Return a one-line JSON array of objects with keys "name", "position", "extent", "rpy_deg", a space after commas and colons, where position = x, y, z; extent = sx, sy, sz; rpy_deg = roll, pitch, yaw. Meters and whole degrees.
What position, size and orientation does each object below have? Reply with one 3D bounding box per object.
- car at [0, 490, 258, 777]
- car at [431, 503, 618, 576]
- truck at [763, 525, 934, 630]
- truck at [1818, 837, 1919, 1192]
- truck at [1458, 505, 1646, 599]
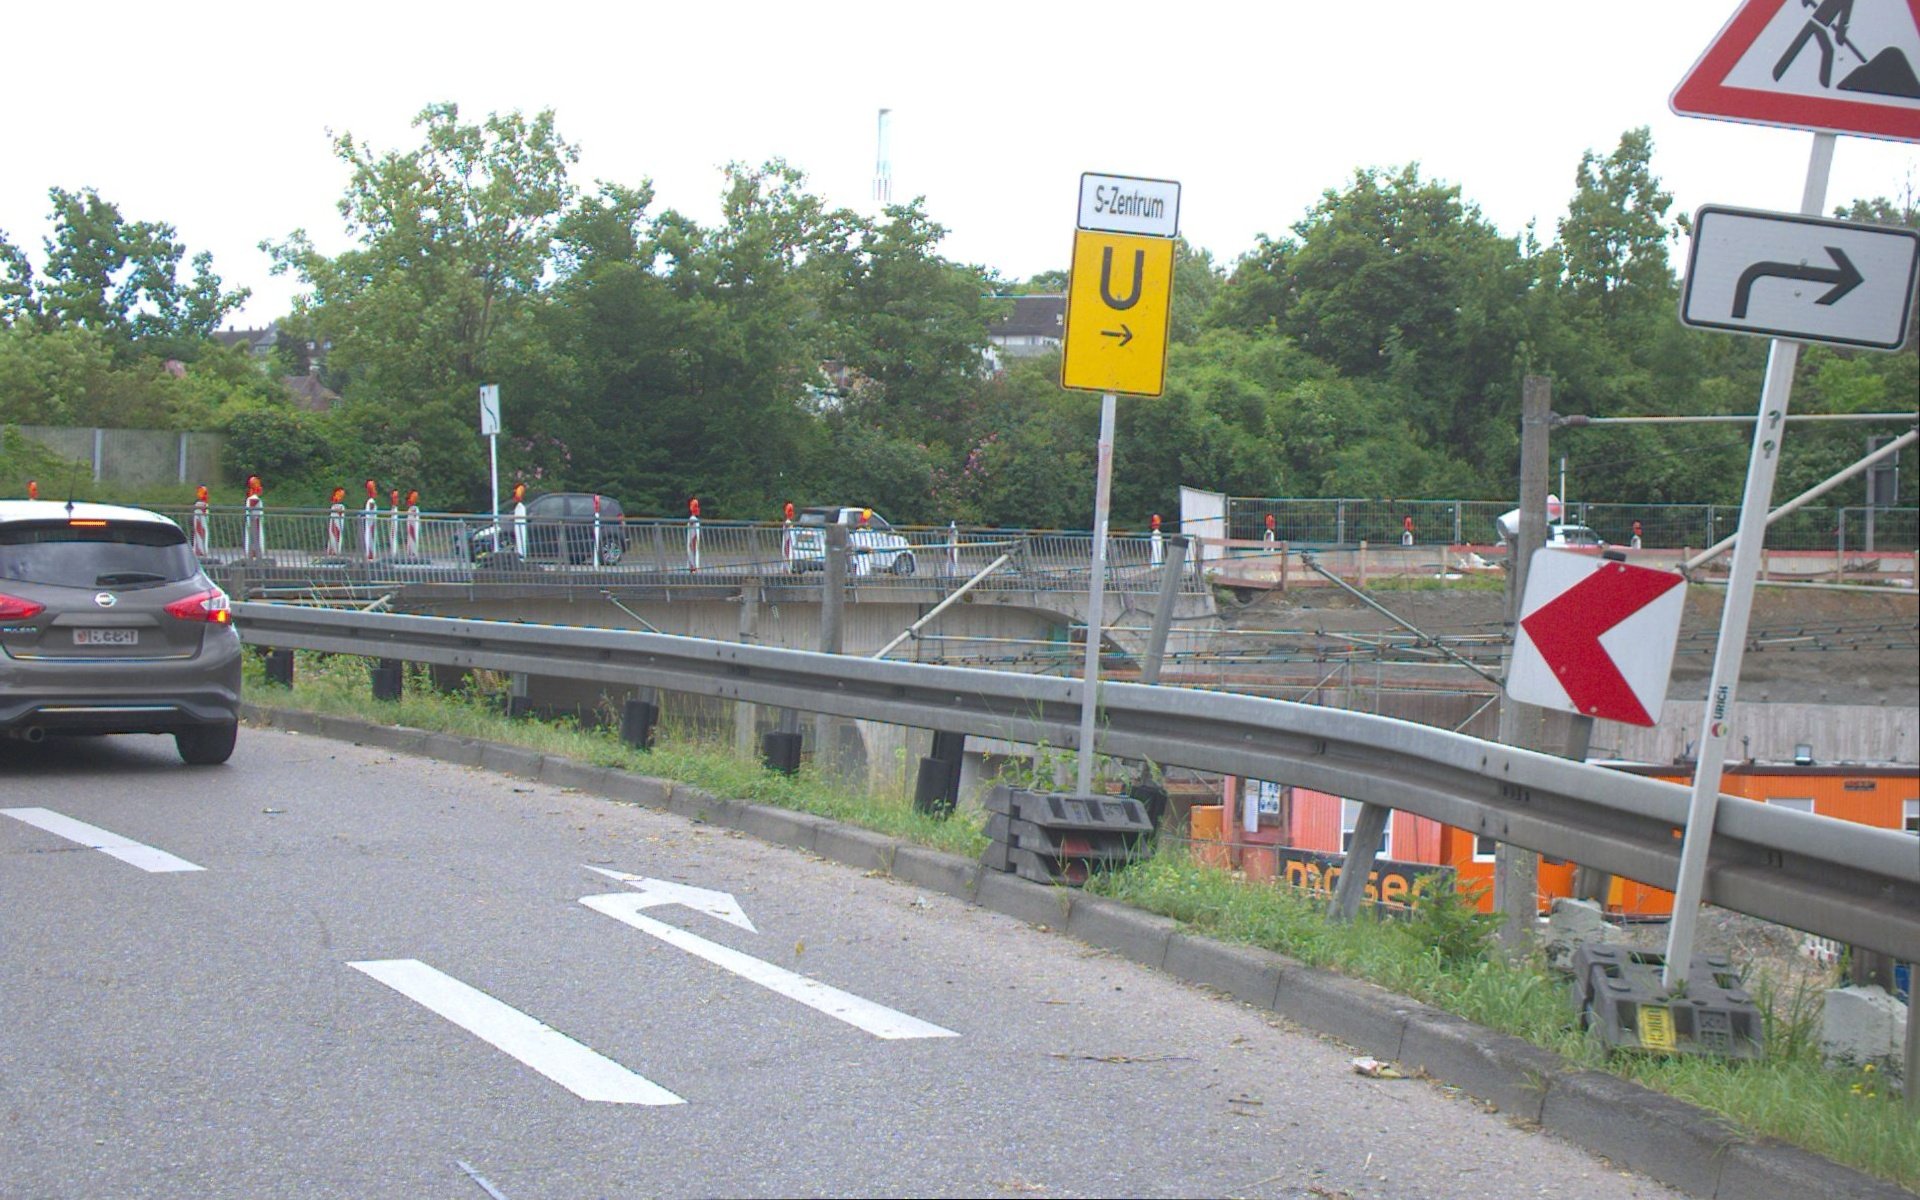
[{"name": "car", "position": [-5.627, 0.132, 20.522], "extent": [1.797, 1.547, 4.001], "rpy_deg": [0, 1, -27]}, {"name": "car", "position": [-9.640, -1.322, 76.150], "extent": [3.777, 1.547, 1.643], "rpy_deg": [0, -1, -36]}, {"name": "truck", "position": [-2.372, -0.475, 73.762], "extent": [3.218, 2.007, 1.739], "rpy_deg": [4, -1, -44]}, {"name": "truck", "position": [14.127, 5.059, 36.243], "extent": [2.837, 3.880, 11.623], "rpy_deg": [1, 2, -26]}, {"name": "truck", "position": [14.459, -1.176, 84.034], "extent": [3.986, 2.007, 2.000], "rpy_deg": [4, 0, -25]}]
